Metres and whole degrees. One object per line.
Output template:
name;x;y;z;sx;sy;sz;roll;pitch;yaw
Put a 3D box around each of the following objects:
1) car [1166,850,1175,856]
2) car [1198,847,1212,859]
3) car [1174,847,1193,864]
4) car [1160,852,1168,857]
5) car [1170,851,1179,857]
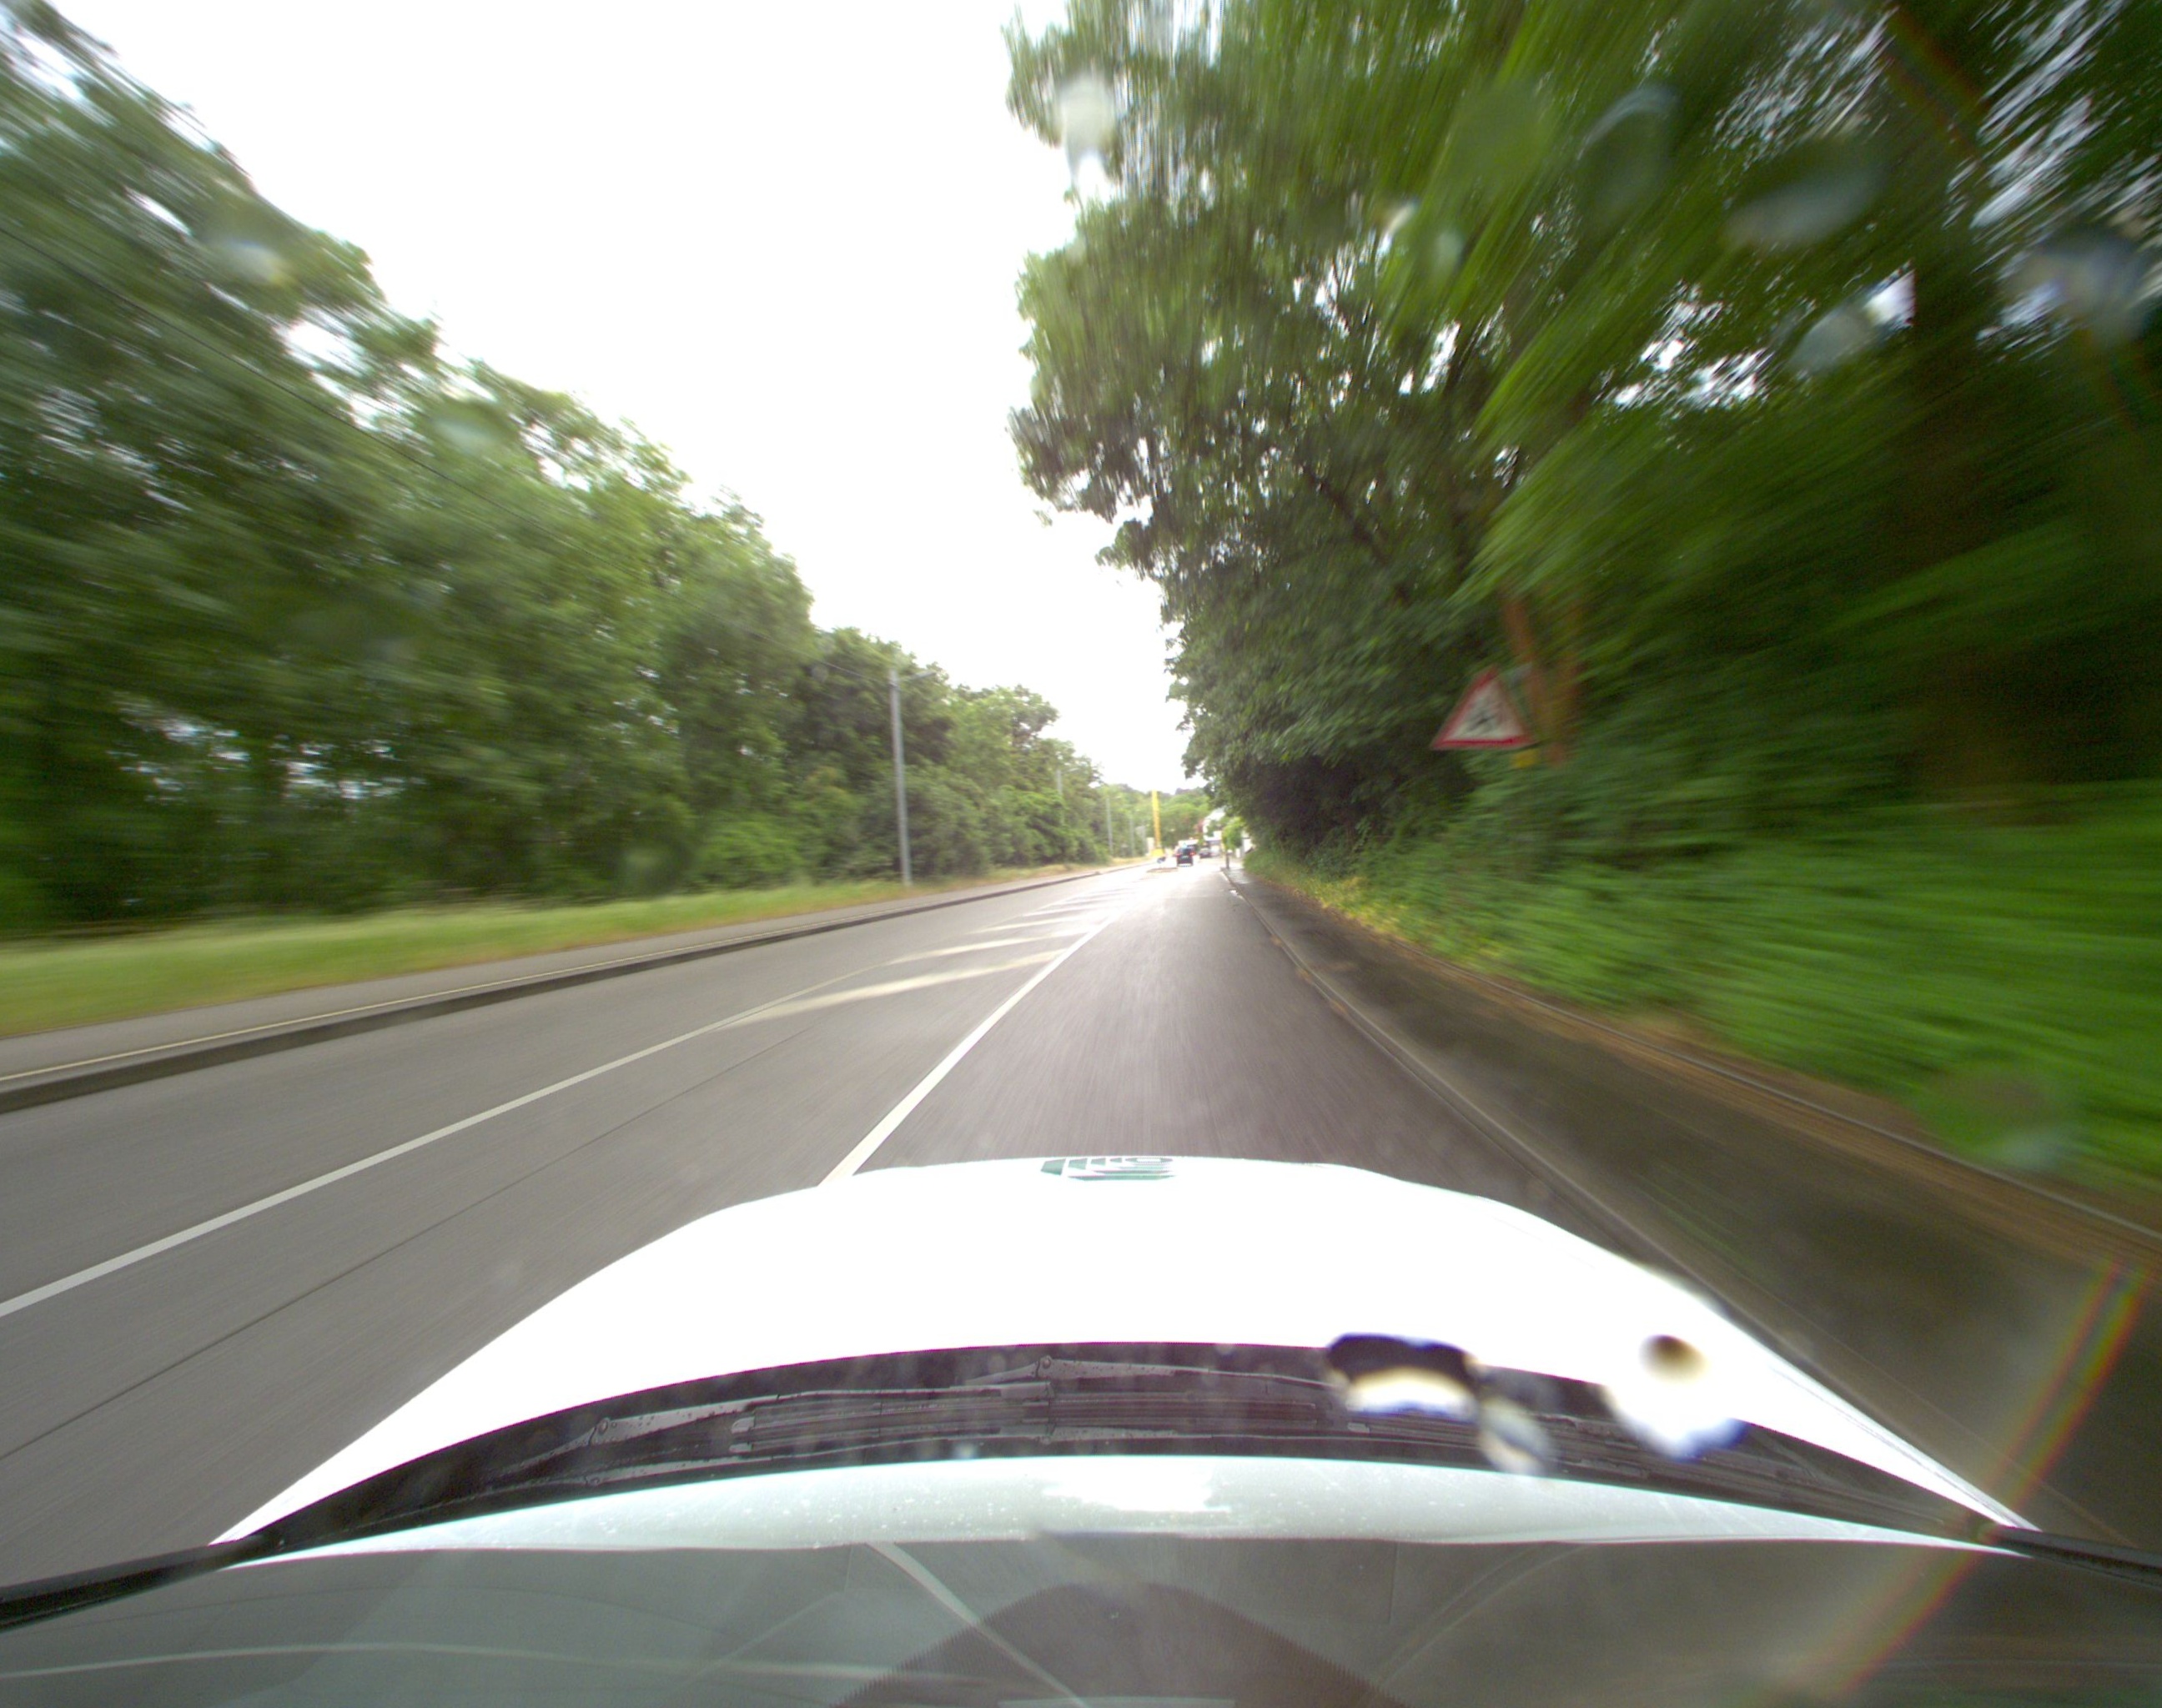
car;25.287;-0.236;230.069;1.737;1.552;3.849;-2;0;-5
car;18.338;-0.141;120.137;1.982;1.772;4.125;-1;0;9
car;10.121;0.132;80.053;1.658;1.594;3.692;-1;0;9
car;24.220;0.147;237.828;1.737;1.552;3.849;-3;0;-5
car;25.744;0.003;225.104;1.737;1.552;3.849;-3;0;-5
